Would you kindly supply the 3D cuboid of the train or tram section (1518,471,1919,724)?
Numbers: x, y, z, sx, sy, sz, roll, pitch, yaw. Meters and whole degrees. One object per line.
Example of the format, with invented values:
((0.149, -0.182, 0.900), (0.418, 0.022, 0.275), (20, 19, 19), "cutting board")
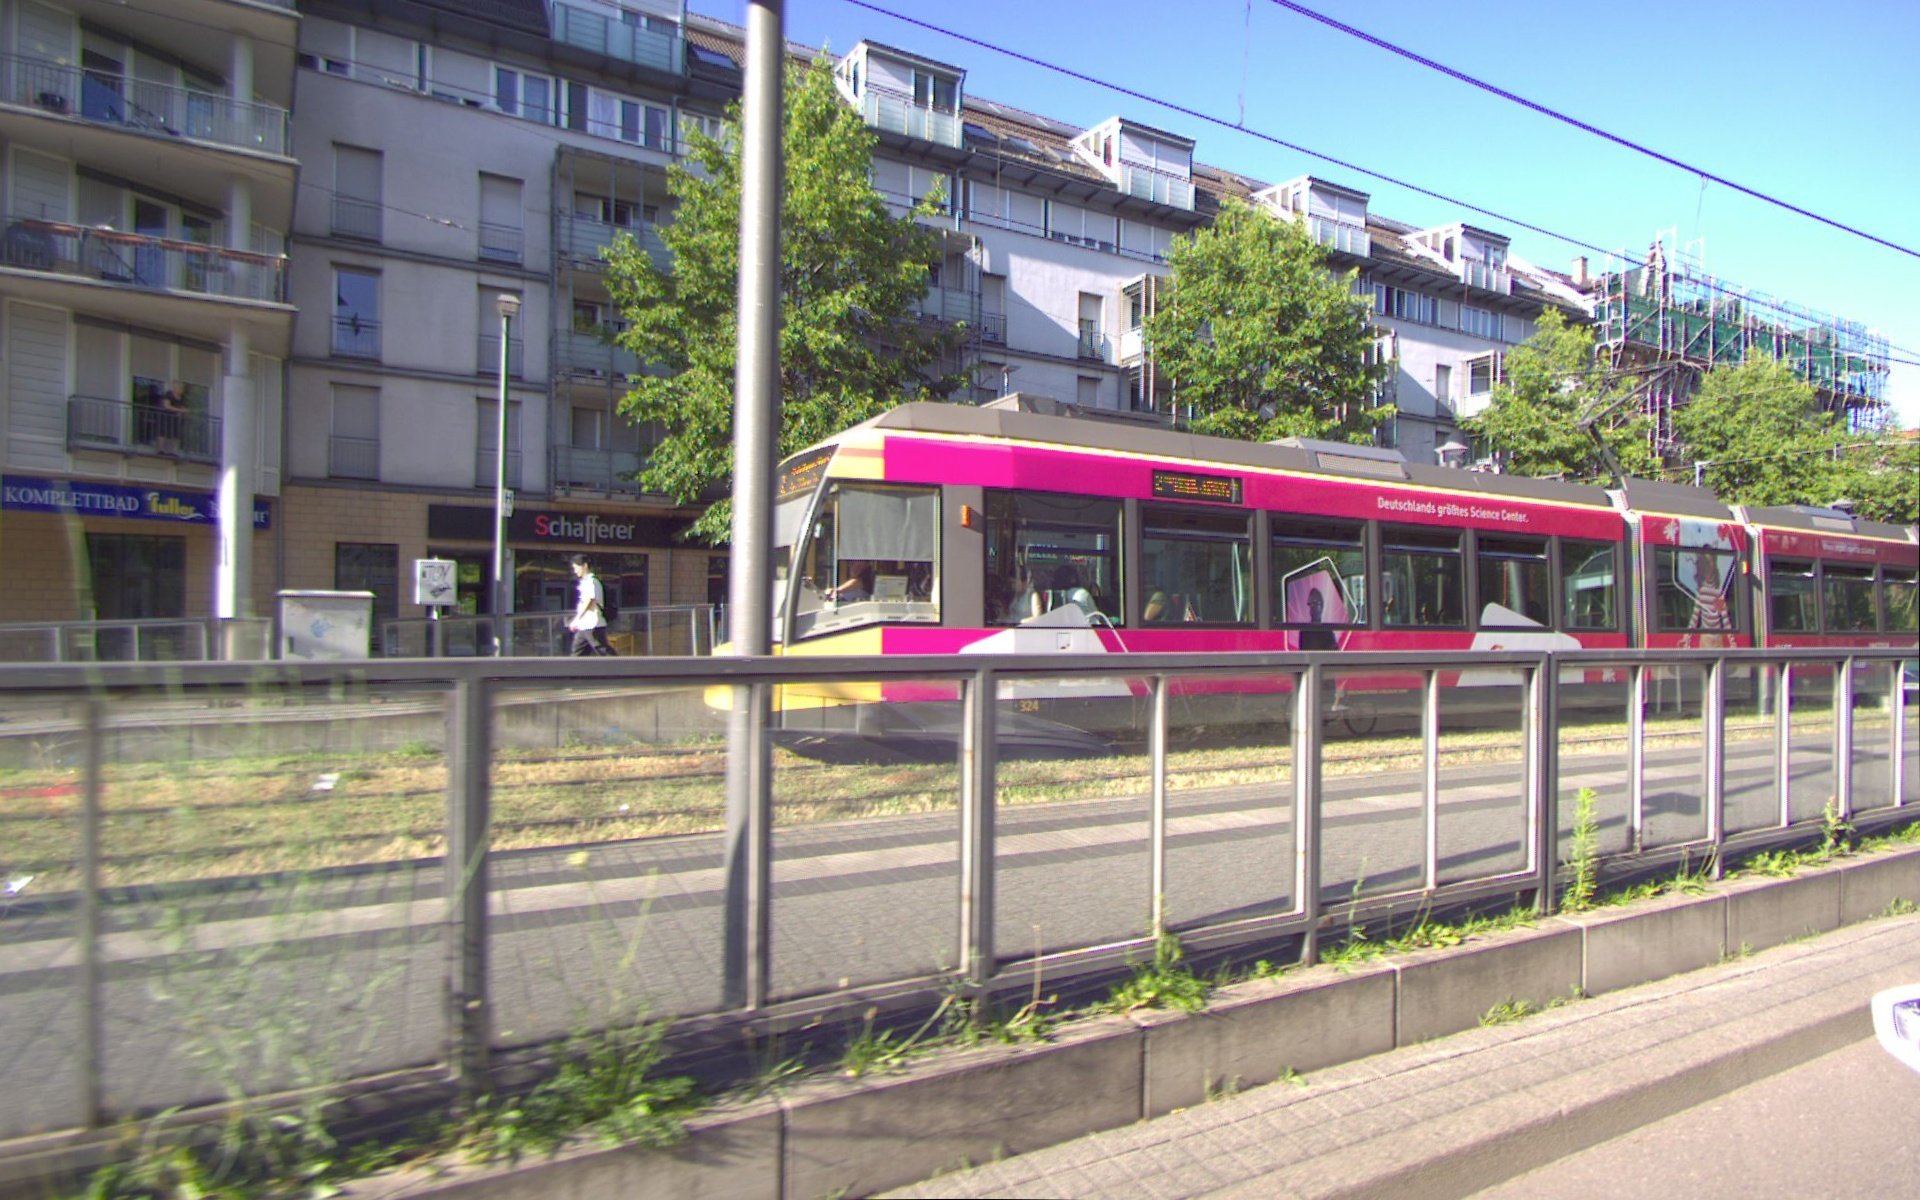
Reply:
((16.643, 0.139, 19.518), (14.378, 3.734, 2.858), (1, -1, -28), "train or tram section")

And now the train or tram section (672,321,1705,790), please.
((3.994, -0.185, 12.655), (14.378, 3.724, 2.858), (1, -1, -28), "train or tram section")

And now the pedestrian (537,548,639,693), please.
((-4.348, 0.227, 11.716), (0.947, 1.602, 0.895), (1, 1, -30), "pedestrian")

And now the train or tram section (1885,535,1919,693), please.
((27.162, 0.423, 25.208), (9.563, 3.734, 2.858), (1, -1, -28), "train or tram section")
